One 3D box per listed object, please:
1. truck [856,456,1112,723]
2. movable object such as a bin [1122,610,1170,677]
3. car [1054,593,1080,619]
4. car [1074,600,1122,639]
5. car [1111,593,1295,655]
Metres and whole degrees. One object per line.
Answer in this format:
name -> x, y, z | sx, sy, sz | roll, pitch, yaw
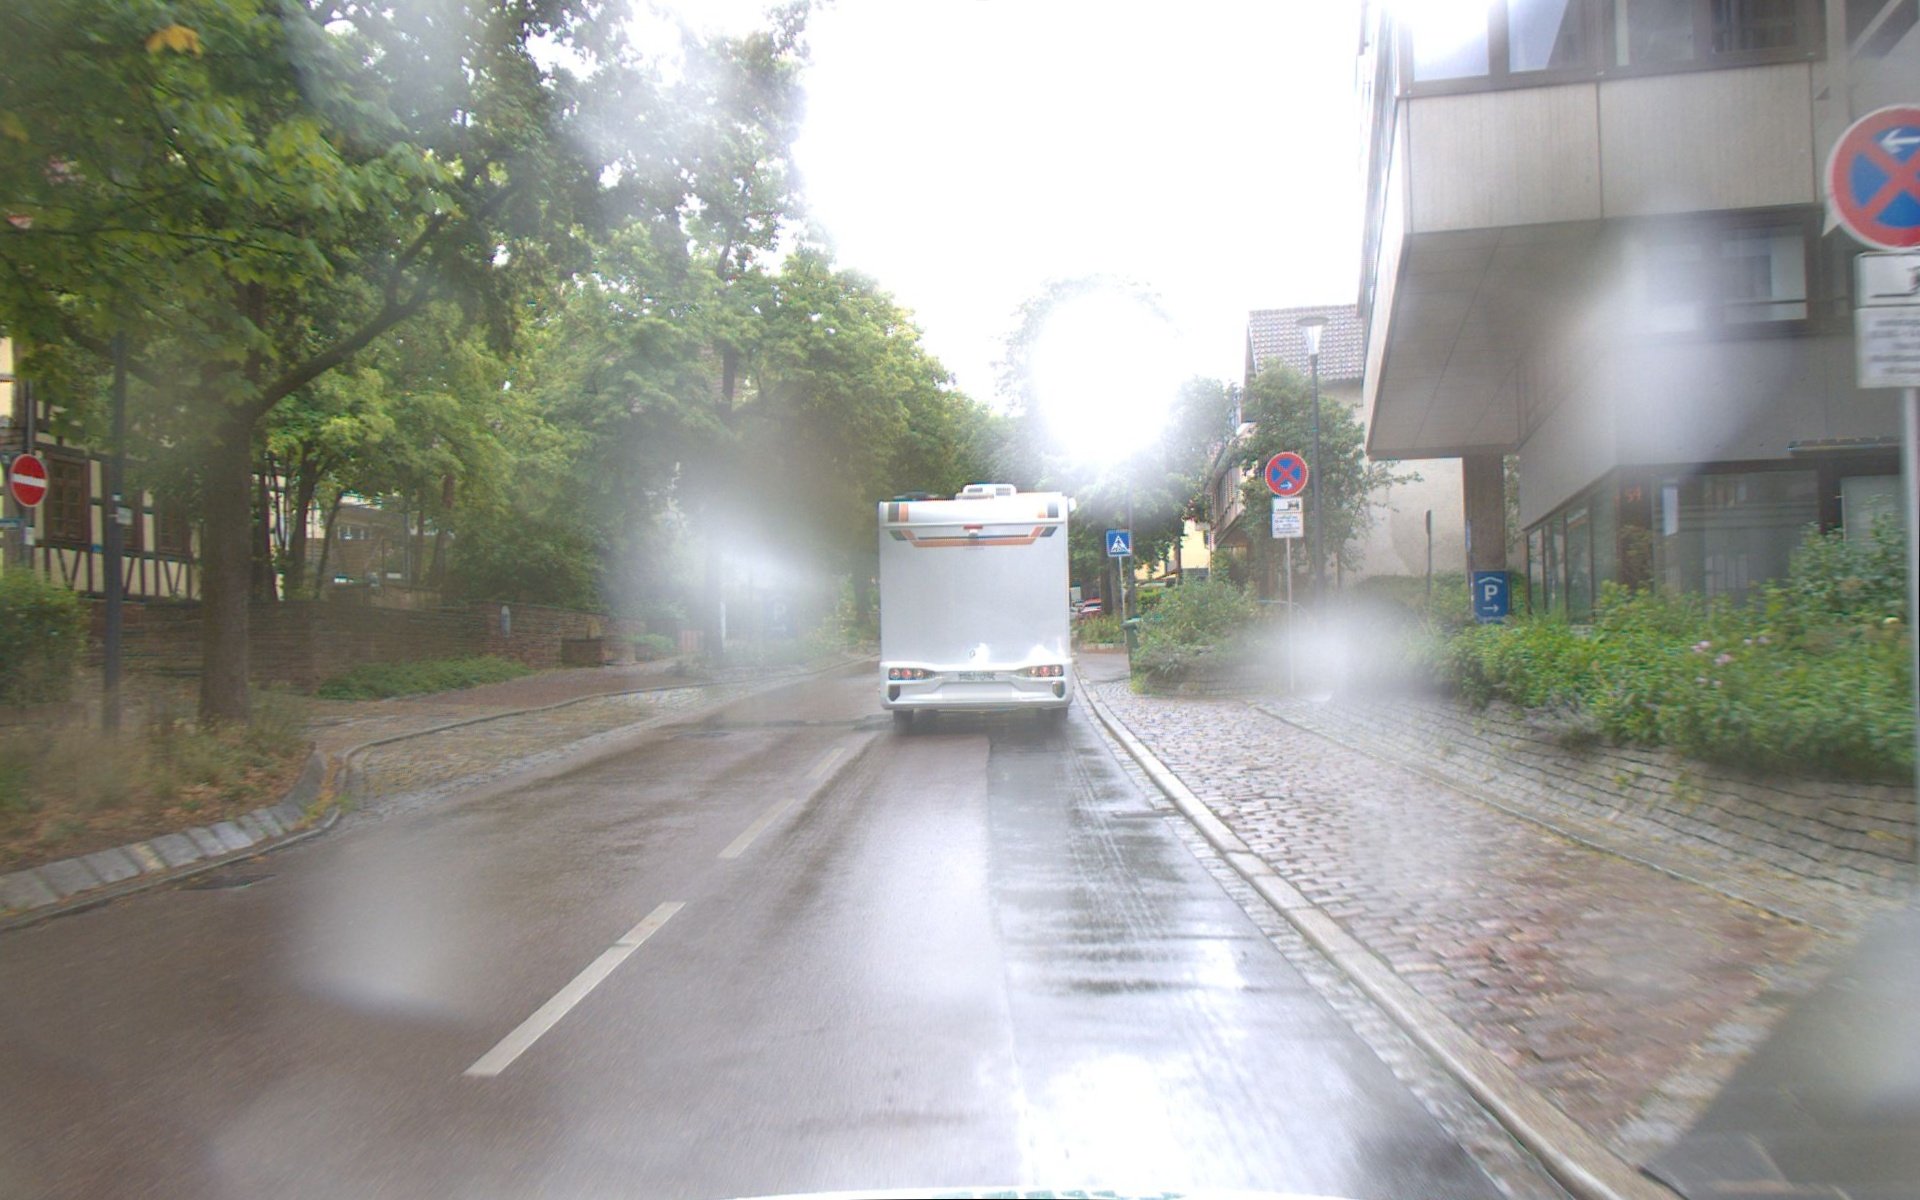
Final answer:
truck -> 0.422, -0.042, 21.421 | 2.747, 2.846, 6.108 | -2, -2, 3
movable object such as a bin -> 3.303, 0.771, 29.348 | 0.689, 1.144, 0.571 | -3, -2, 19
car -> 6.935, 0.390, 107.176 | 1.614, 1.569, 3.532 | -2, -2, 4
car -> 5.638, 0.764, 67.278 | 1.816, 1.498, 4.368 | 0, 0, 6
car -> 5.777, 0.568, 39.648 | 4.194, 1.441, 1.841 | 0, 0, 2
